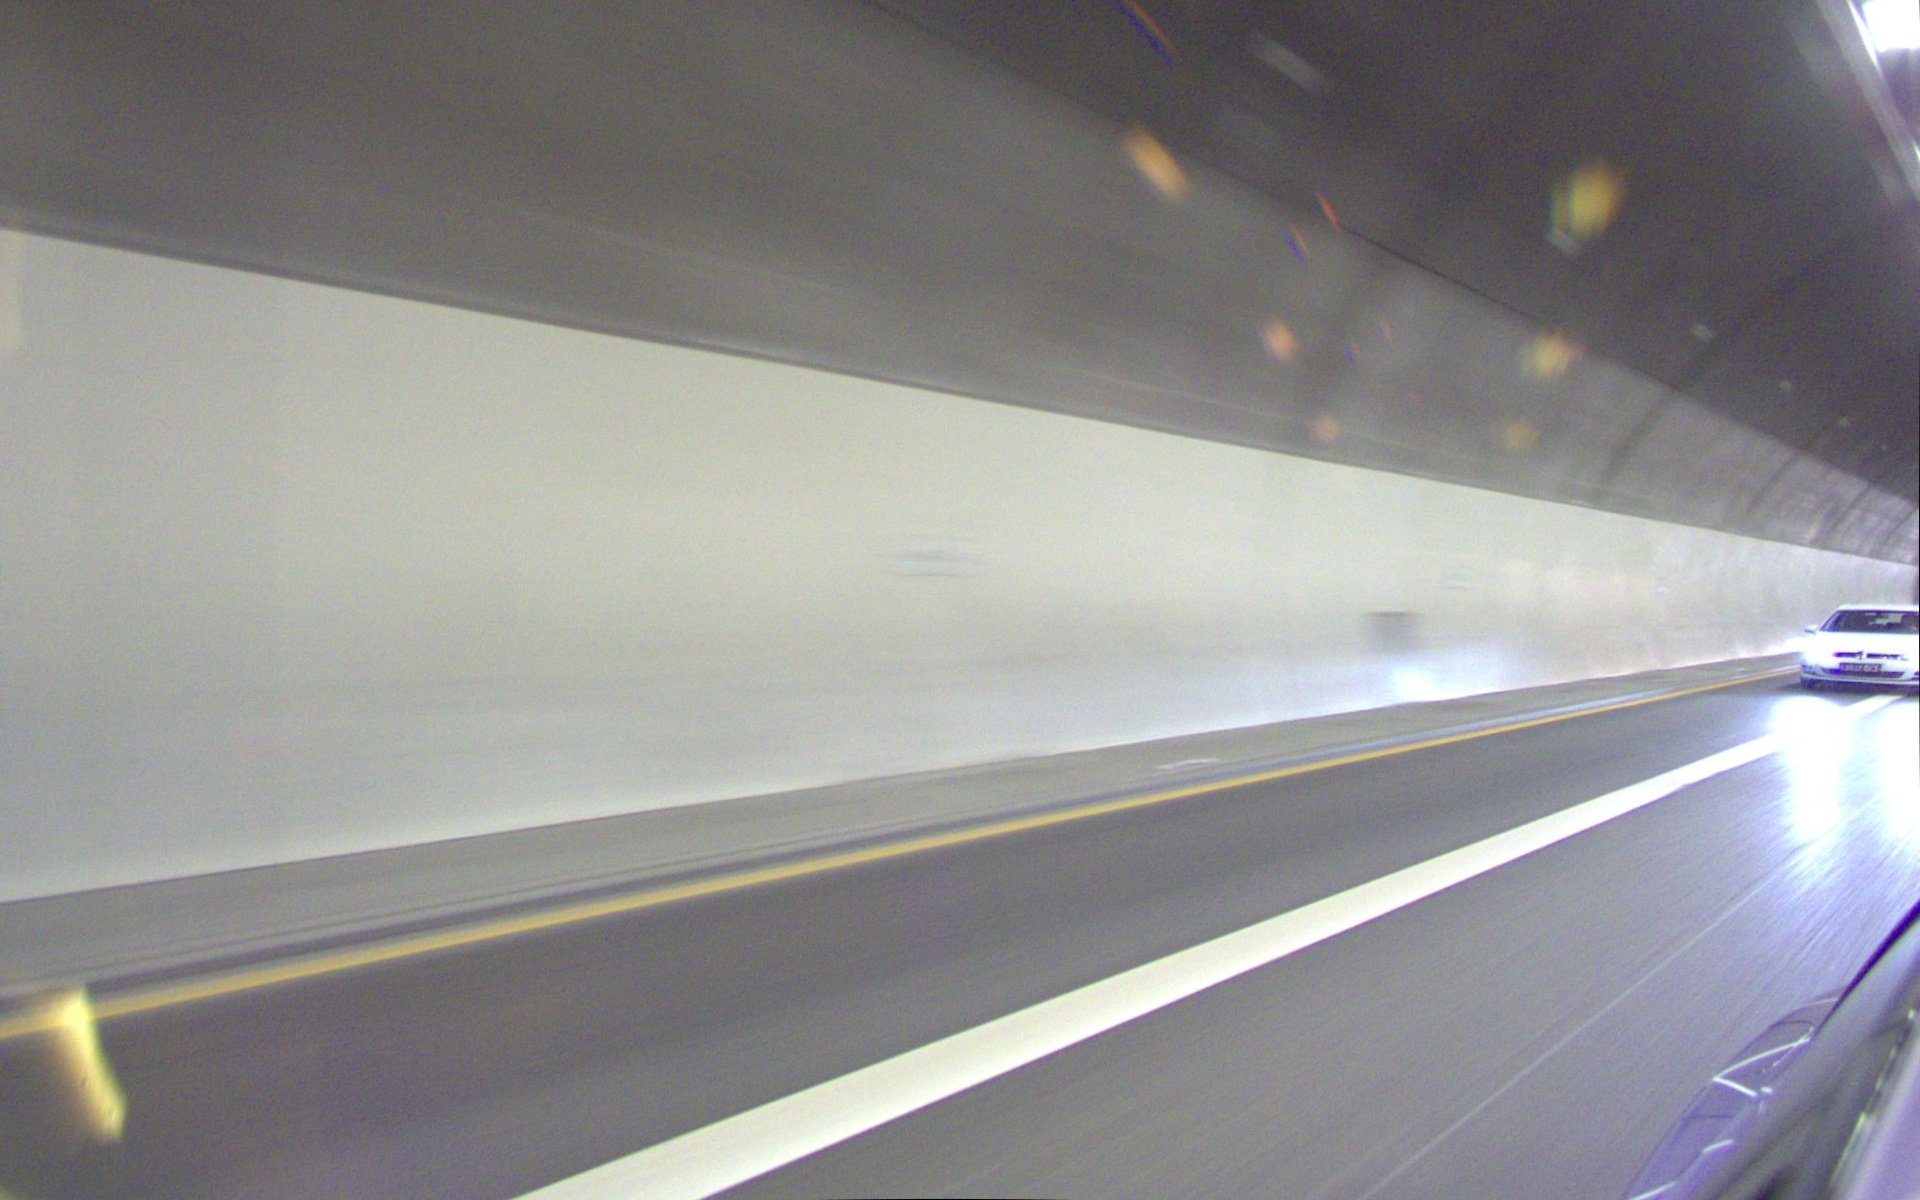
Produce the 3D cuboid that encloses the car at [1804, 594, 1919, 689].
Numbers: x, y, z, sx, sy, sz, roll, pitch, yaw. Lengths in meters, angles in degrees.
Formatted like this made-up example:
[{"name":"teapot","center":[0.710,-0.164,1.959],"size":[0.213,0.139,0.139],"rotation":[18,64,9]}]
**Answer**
[{"name":"car","center":[16.122,0.640,17.382],"size":[3.962,1.479,1.801],"rotation":[0,0,-39]}]
